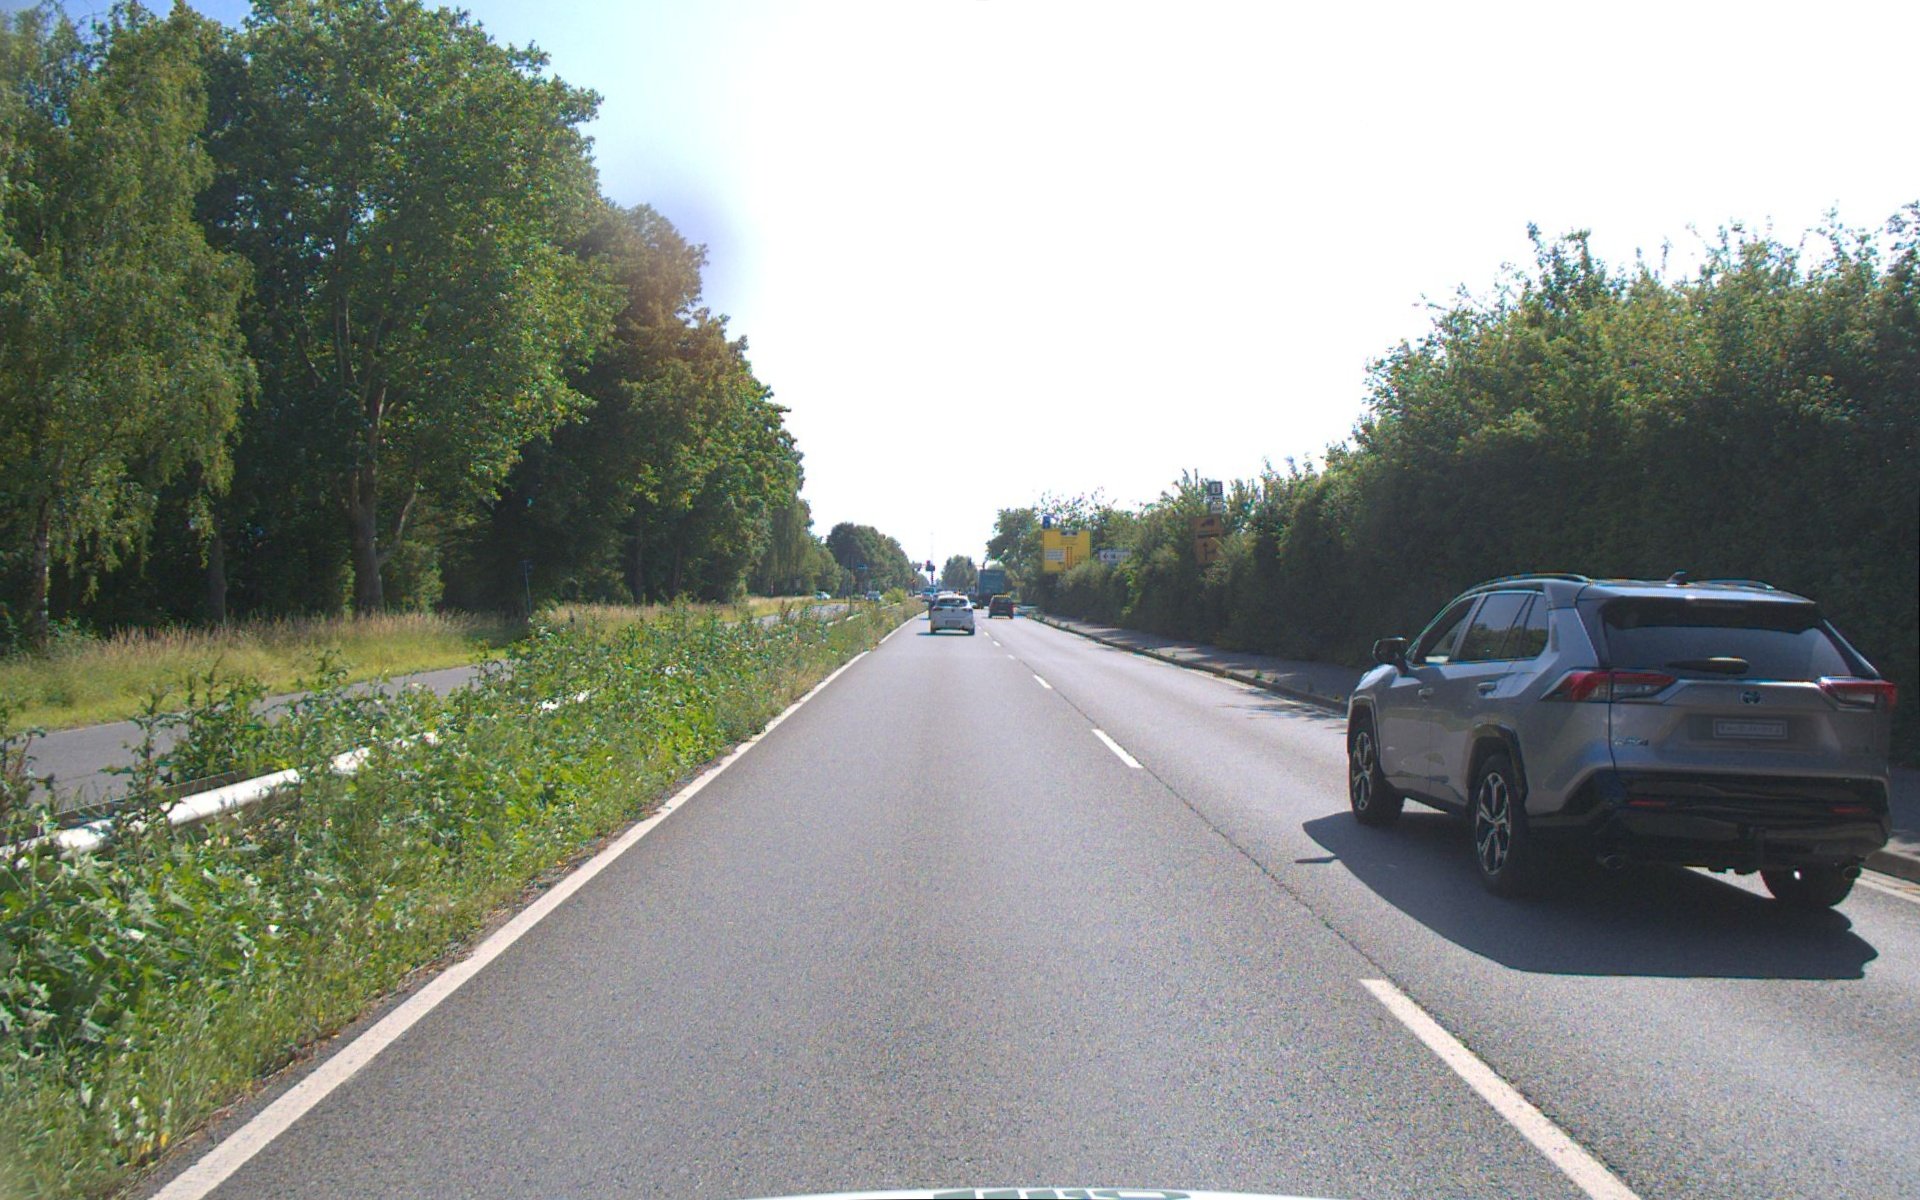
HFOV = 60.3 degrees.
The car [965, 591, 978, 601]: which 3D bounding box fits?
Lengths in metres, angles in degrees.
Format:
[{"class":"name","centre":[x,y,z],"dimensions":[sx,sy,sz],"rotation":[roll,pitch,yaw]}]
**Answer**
[{"class":"car","centre":[1.731,-0.547,252.336],"dimensions":[1.775,1.490,4.460],"rotation":[0,0,2]}]

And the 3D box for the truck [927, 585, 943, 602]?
[{"class":"truck","centre":[-3.944,-1.087,262.649],"dimensions":[2.324,2.430,6.043],"rotation":[1,2,2]}]

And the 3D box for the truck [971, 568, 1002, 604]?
[{"class":"truck","centre":[2.602,-1.375,164.305],"dimensions":[2.832,3.488,9.168],"rotation":[0,0,0]}]

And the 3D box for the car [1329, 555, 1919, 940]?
[{"class":"car","centre":[3.714,0.671,9.911],"dimensions":[1.863,1.709,4.683],"rotation":[2,0,-1]}]

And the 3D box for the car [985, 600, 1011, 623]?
[{"class":"car","centre":[2.436,0.747,105.702],"dimensions":[1.540,1.439,3.277],"rotation":[1,-1,0]}]

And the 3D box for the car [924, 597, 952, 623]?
[{"class":"car","centre":[-1.242,0.581,94.936],"dimensions":[1.540,1.439,3.277],"rotation":[0,0,0]}]

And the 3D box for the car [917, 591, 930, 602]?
[{"class":"car","centre":[-5.641,-0.530,254.496],"dimensions":[1.775,1.490,4.971],"rotation":[-1,0,1]}]

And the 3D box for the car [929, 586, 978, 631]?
[{"class":"car","centre":[-0.227,0.294,62.849],"dimensions":[1.762,1.580,4.000],"rotation":[1,1,0]}]

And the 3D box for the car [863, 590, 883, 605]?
[{"class":"car","centre":[-8.920,-0.246,169.789],"dimensions":[1.742,1.557,4.162],"rotation":[-1,0,2]}]
